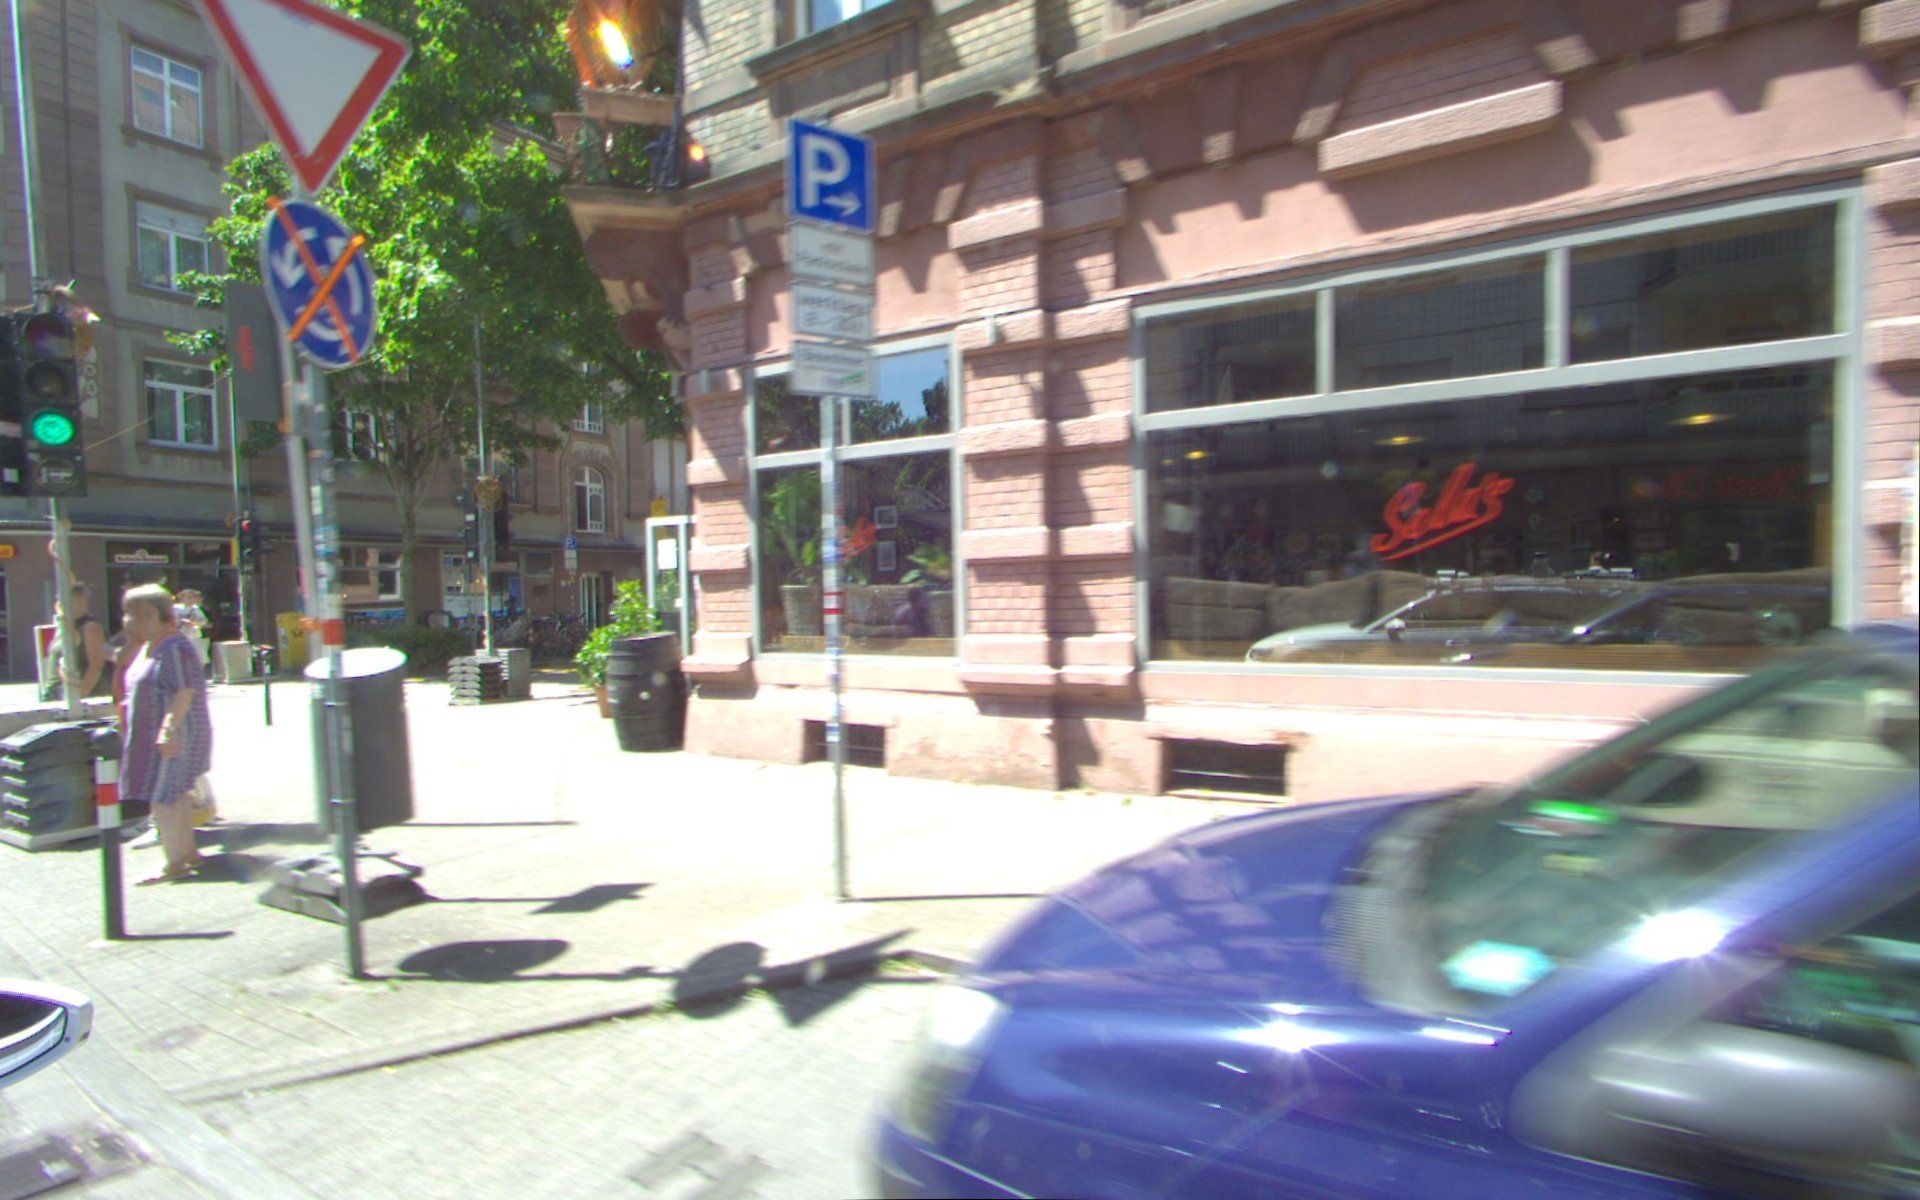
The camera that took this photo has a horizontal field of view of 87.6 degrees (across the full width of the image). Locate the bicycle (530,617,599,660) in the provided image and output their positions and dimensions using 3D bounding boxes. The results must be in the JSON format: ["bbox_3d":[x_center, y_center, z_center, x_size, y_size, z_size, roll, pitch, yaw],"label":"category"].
[{"bbox_3d":[-10.173,0.971,25.818,0.463,1.010,1.758,2,2,28],"label":"bicycle"}]

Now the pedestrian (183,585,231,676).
[{"bbox_3d":[-15.353,0.608,20.422,0.463,1.794,0.575,3,5,24],"label":"pedestrian"}]

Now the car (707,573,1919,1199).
[{"bbox_3d":[1.563,0.695,1.419,3.606,1.452,1.624,-1,2,31],"label":"car"}]

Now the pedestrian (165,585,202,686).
[{"bbox_3d":[-13.928,0.628,17.964,0.473,1.755,0.865,-2,0,-38],"label":"pedestrian"}]

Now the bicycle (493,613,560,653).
[{"bbox_3d":[-11.743,0.882,27.183,0.463,1.010,1.758,2,2,28],"label":"bicycle"}]

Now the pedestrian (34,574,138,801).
[{"bbox_3d":[-6.347,0.610,7.276,0.473,1.581,0.457,0,1,38],"label":"pedestrian"}]

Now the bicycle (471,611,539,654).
[{"bbox_3d":[-12.345,0.861,27.214,0.463,1.095,1.758,2,2,28],"label":"bicycle"}]

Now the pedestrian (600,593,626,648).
[{"bbox_3d":[-10.580,0.620,30.532,0.552,1.636,0.489,0,2,37],"label":"pedestrian"}]

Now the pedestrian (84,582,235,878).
[{"bbox_3d":[-4.494,0.694,5.633,0.431,1.564,0.490,0,4,38],"label":"pedestrian"}]

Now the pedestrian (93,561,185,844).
[{"bbox_3d":[-5.120,0.614,6.245,0.396,1.698,0.331,0,1,38],"label":"pedestrian"}]

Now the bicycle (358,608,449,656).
[{"bbox_3d":[-14.326,0.807,25.807,1.964,1.148,0.512,-1,3,-41],"label":"bicycle"}]

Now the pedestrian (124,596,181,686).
[{"bbox_3d":[-15.640,0.777,19.400,0.415,1.669,0.701,3,5,24],"label":"pedestrian"}]

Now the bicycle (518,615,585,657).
[{"bbox_3d":[-10.693,0.921,26.265,0.463,1.010,1.758,2,2,28],"label":"bicycle"}]

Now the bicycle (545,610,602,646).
[{"bbox_3d":[-11.760,0.846,30.548,0.463,1.010,1.758,2,2,28],"label":"bicycle"}]

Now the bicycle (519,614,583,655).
[{"bbox_3d":[-10.976,0.910,26.935,0.463,1.019,1.682,2,2,28],"label":"bicycle"}]
